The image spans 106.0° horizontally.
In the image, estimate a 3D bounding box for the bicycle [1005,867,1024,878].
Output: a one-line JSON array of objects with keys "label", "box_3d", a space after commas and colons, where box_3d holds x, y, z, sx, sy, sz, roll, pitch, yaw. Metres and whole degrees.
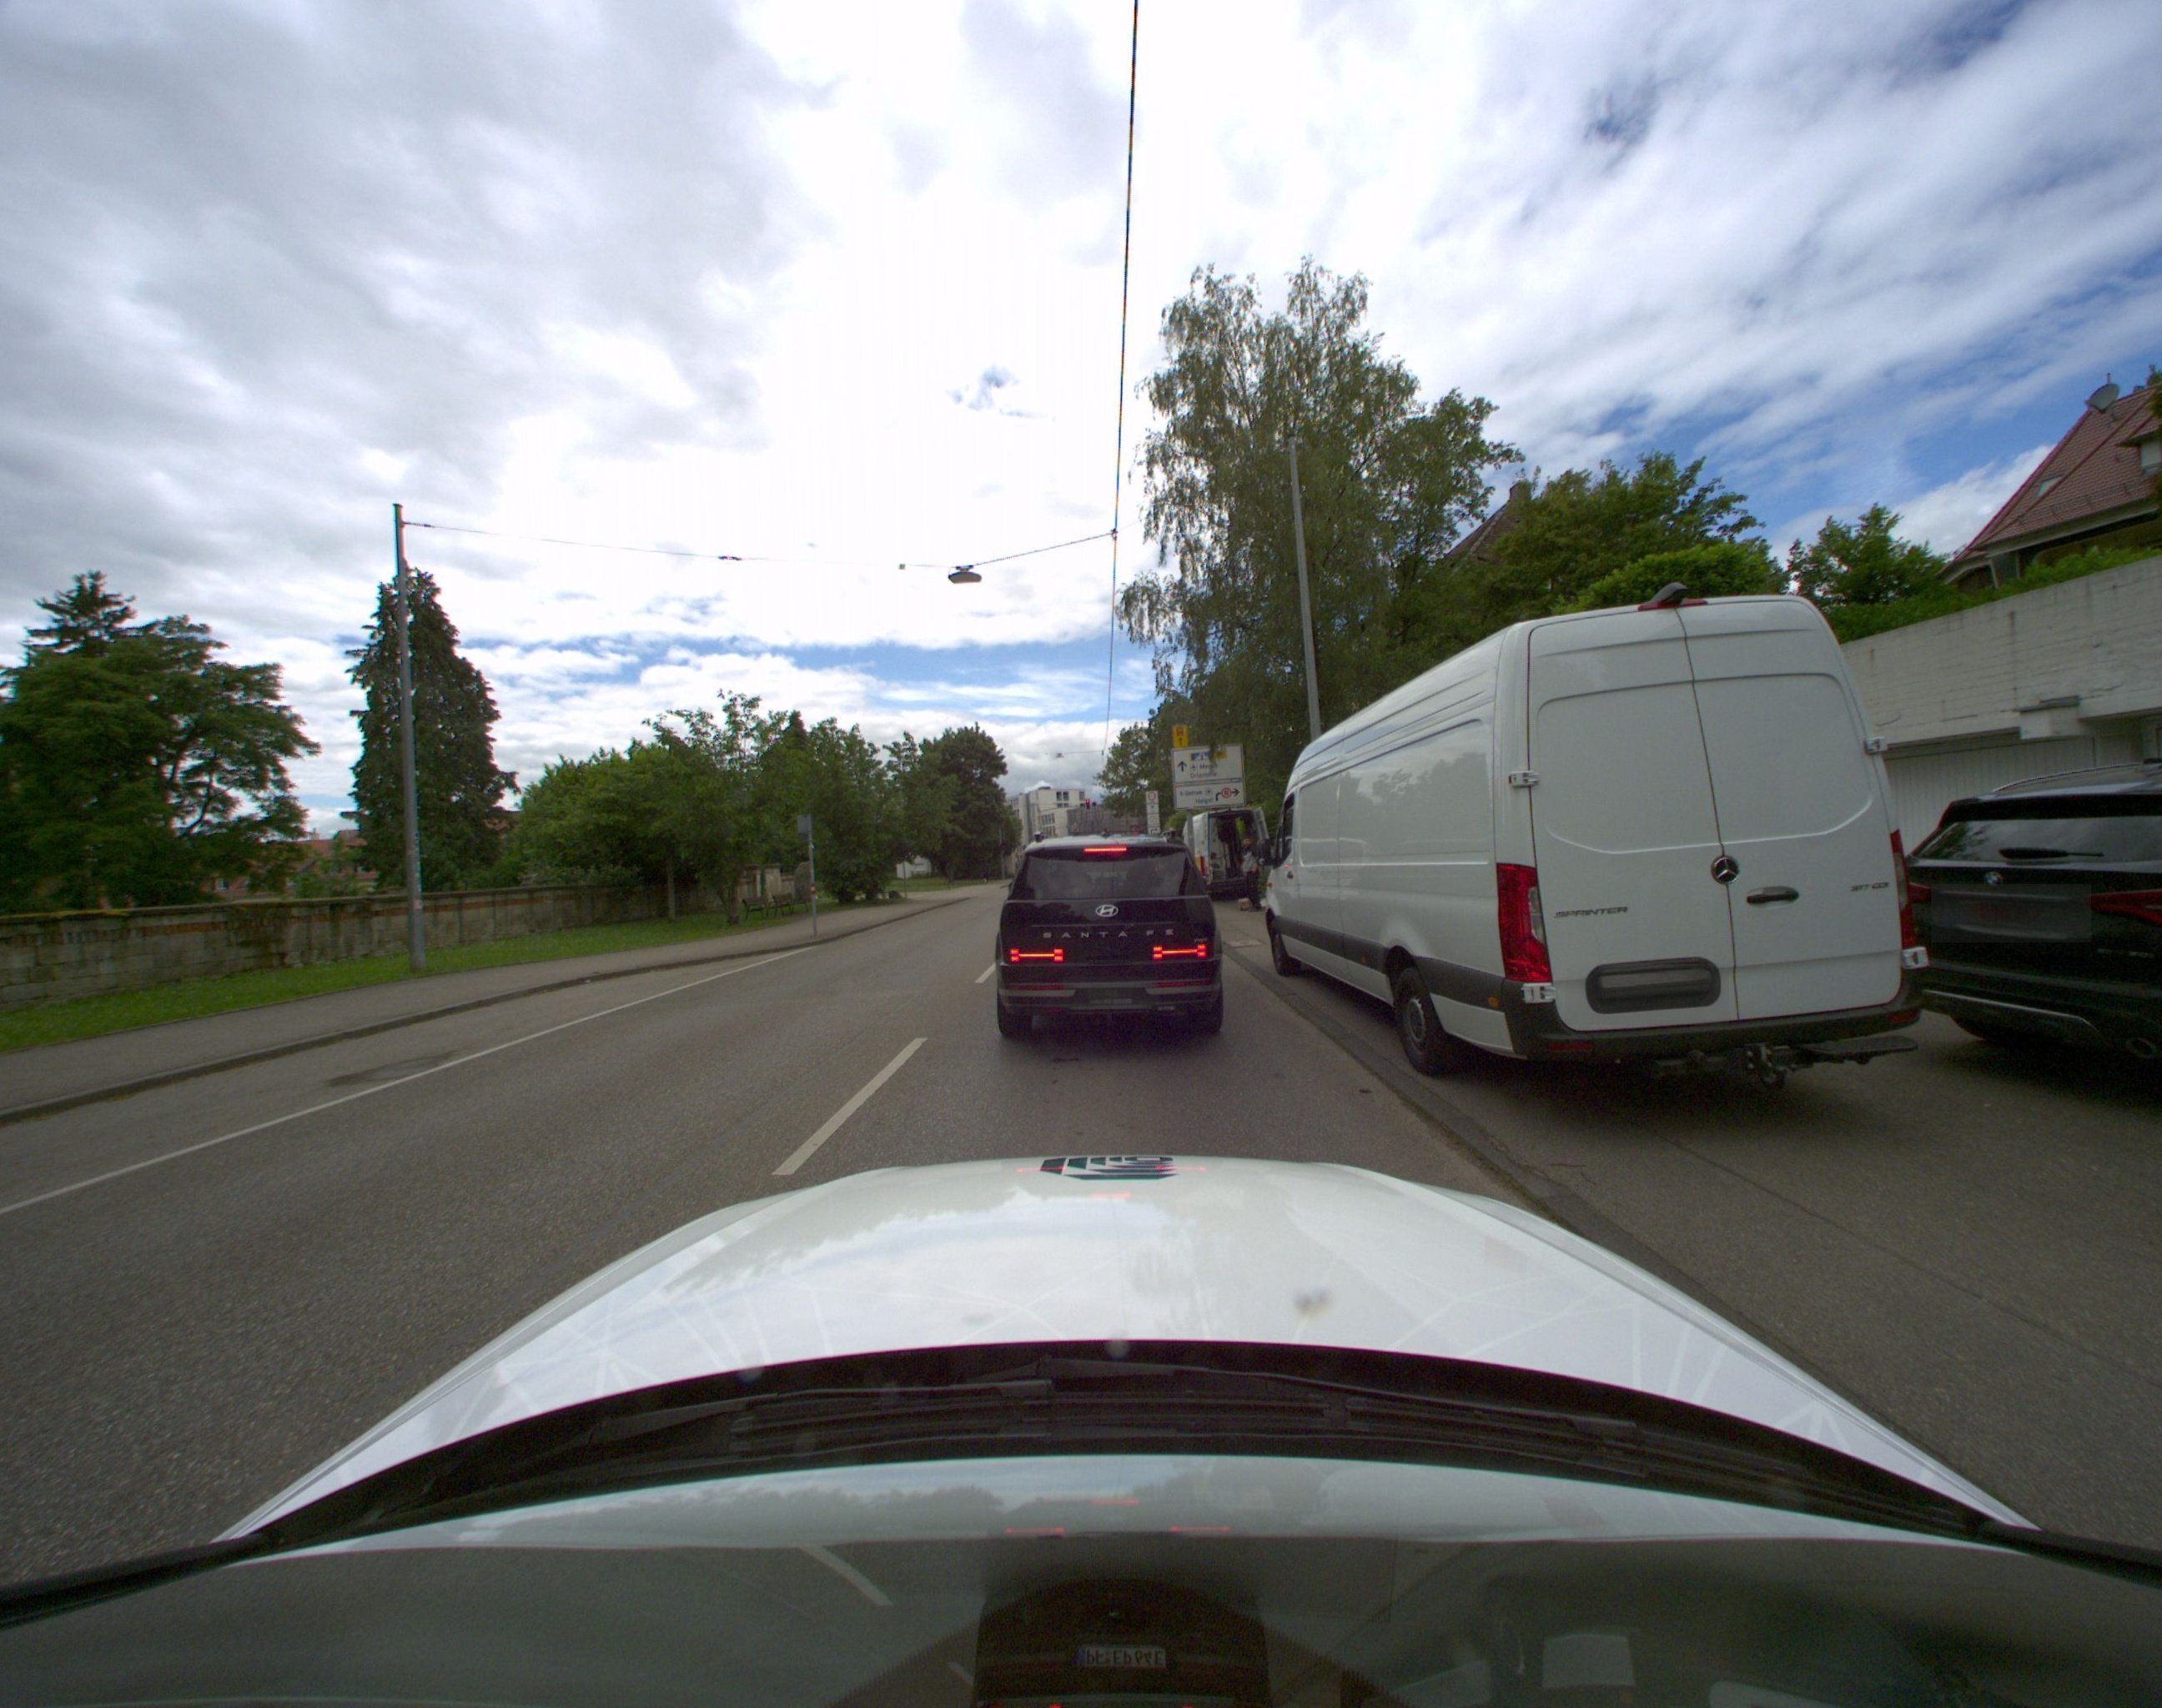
[{"label": "bicycle", "box_3d": [-6.389, 1.782, 78.356, 1.753, 1.093, 0.703, -1, -1, 34]}]

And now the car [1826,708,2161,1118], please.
[{"label": "car", "box_3d": [6.828, 0.141, 4.098, 4.398, 1.750, 1.739, -3, 0, 3]}]

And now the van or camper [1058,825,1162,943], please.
[{"label": "van or camper", "box_3d": [0.581, 0.538, 16.481, 1.748, 2.013, 4.002, -3, 0, 2]}]

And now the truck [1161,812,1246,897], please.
[{"label": "truck", "box_3d": [4.211, 0.046, 28.863, 1.937, 2.561, 5.213, -5, -1, -1]}]

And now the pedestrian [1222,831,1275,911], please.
[{"label": "pedestrian", "box_3d": [3.899, 0.394, 18.970, 0.877, 1.797, 0.751, -3, -1, -41]}]

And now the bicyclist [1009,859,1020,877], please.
[{"label": "bicyclist", "box_3d": [-6.395, 1.344, 78.379, 0.820, 1.691, 0.723, -1, -1, 34]}]

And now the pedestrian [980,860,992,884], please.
[{"label": "pedestrian", "box_3d": [-6.995, 1.302, 59.846, 0.737, 1.715, 0.791, -3, 0, -5]}]

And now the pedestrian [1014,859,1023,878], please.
[{"label": "pedestrian", "box_3d": [-5.871, 1.390, 76.780, 0.737, 1.715, 0.791, -3, 0, -5]}]

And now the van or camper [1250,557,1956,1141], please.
[{"label": "van or camper", "box_3d": [3.099, -0.013, 7.068, 1.986, 2.620, 6.543, -3, 0, 2]}]

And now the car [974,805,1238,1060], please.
[{"label": "car", "box_3d": [0.245, 0.582, 7.961, 1.883, 1.819, 4.002, -2, 0, 2]}]
